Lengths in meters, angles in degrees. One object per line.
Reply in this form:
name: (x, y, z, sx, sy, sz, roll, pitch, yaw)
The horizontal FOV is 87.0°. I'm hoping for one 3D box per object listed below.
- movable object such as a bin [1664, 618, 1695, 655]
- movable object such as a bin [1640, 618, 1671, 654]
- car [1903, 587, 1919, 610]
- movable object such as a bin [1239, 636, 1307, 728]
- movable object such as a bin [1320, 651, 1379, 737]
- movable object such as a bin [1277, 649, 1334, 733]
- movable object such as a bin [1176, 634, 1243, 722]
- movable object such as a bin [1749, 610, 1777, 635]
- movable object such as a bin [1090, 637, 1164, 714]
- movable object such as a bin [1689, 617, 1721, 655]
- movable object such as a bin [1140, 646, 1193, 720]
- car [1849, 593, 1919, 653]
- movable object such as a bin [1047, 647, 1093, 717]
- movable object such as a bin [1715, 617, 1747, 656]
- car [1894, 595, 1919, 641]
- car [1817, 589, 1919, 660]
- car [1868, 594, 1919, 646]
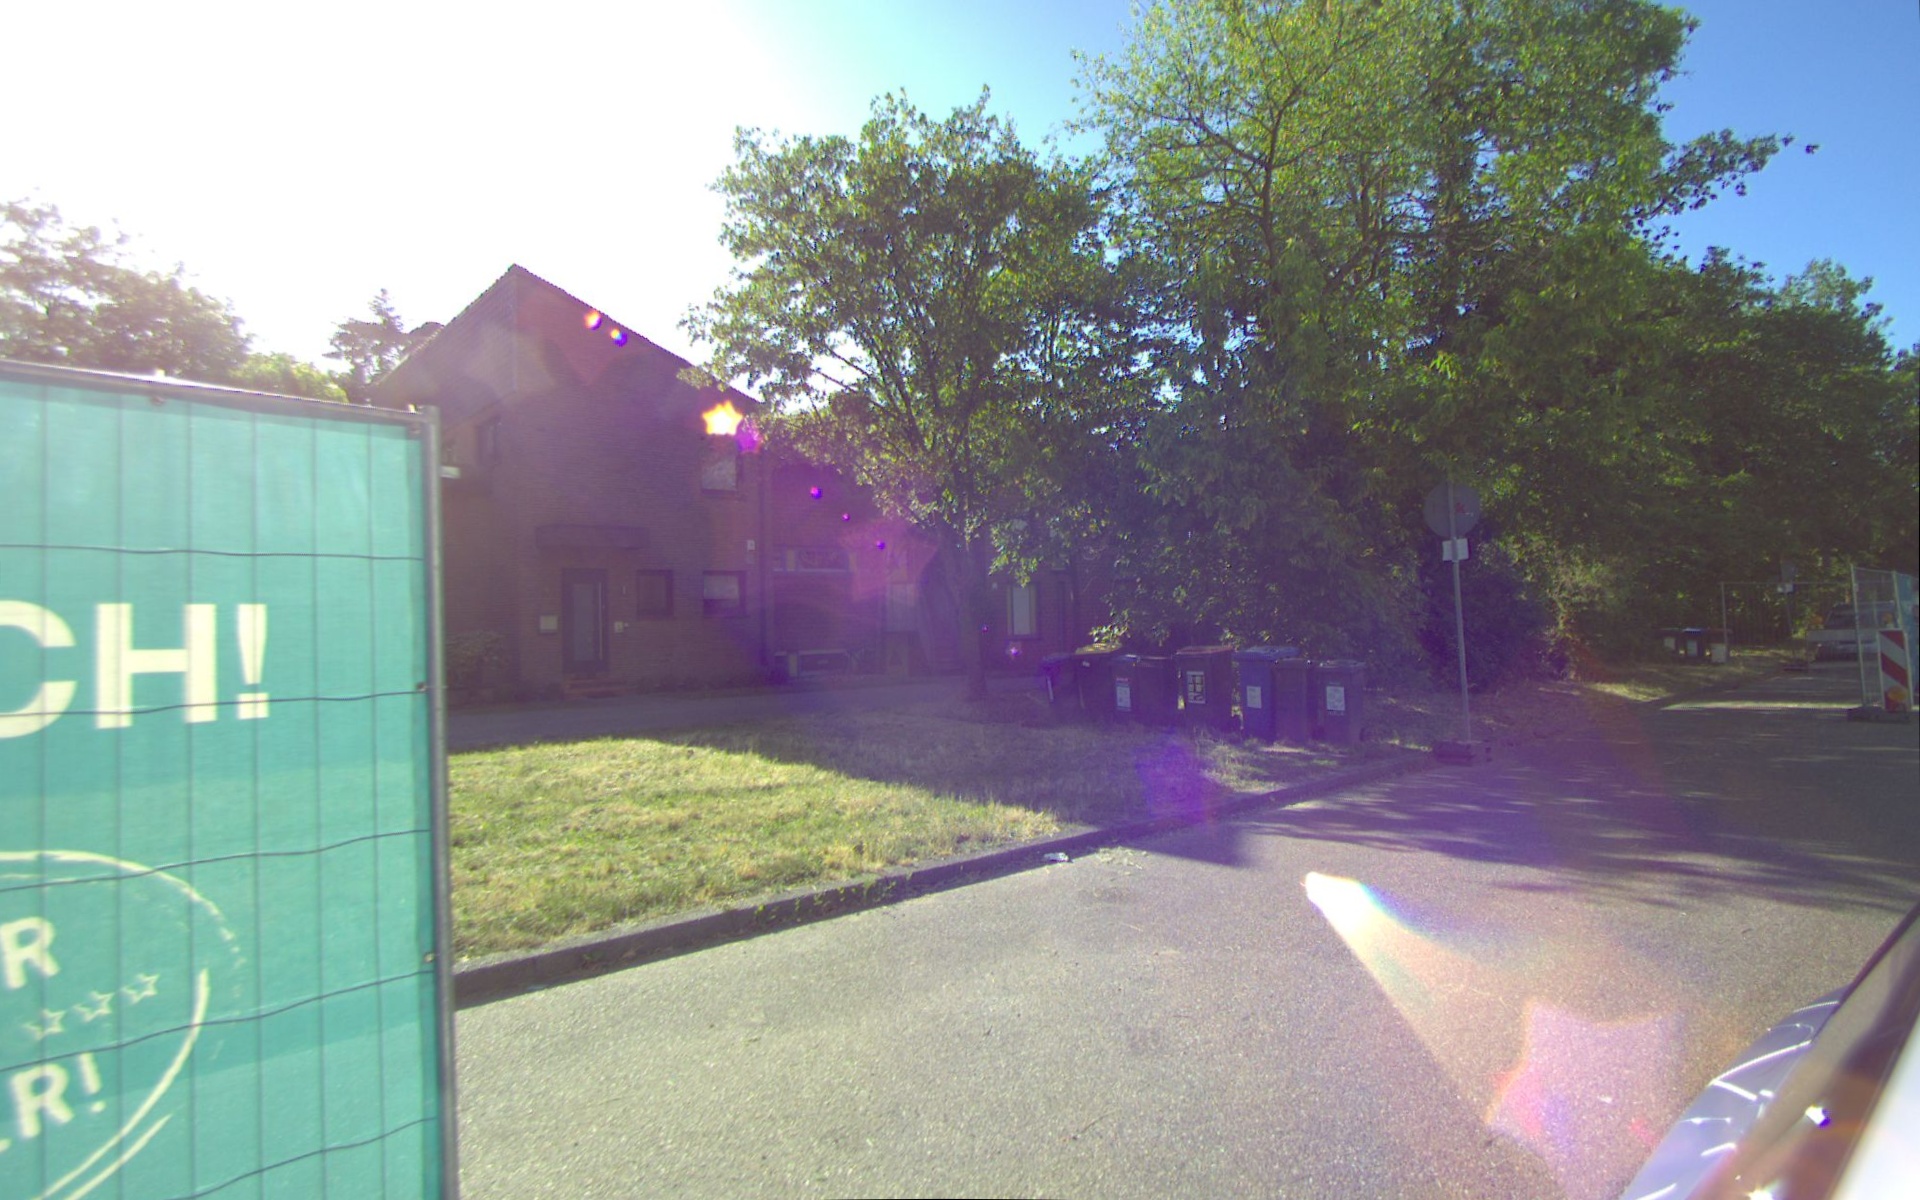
movable object such as a bin: (17.233, 0.872, 24.236, 0.550, 0.872, 0.484, 0, -3, -44)
movable object such as a bin: (16.942, 0.874, 24.639, 0.550, 0.872, 0.484, 0, -3, -44)
car: (84.385, -0.159, 86.565, 1.966, 2.030, 5.261, 0, -1, -42)
movable object such as a bin: (3.675, 0.946, 11.889, 0.597, 1.012, 0.519, -1, 0, -41)
movable object such as a bin: (4.252, 1.011, 11.049, 0.476, 0.881, 0.413, -1, 0, -41)
movable object such as a bin: (3.882, 1.013, 11.379, 0.476, 0.881, 0.413, -1, 0, -41)
movable object such as a bin: (3.081, 0.947, 12.501, 0.597, 1.012, 0.563, -1, 0, -40)
movable object such as a bin: (31.627, 0.876, 39.875, 0.454, 0.891, 0.728, -8, 4, -35)
movable object such as a bin: (2.210, 0.986, 13.413, 0.683, 0.940, 0.695, -1, 0, -40)
movable object such as a bin: (17.570, 0.843, 23.872, 0.550, 0.872, 0.484, 0, -3, -44)
movable object such as a bin: (2.626, 1.040, 12.876, 0.516, 0.881, 0.419, -1, 0, -41)
car: (26.920, 0.624, 28.899, 3.995, 1.594, 1.681, 0, -3, -40)
movable object such as a bin: (1.512, 1.115, 13.906, 0.424, 0.893, 0.518, -1, 0, 37)
movable object such as a bin: (17.909, 0.845, 23.517, 0.550, 0.872, 0.484, 0, -3, -44)
car: (33.695, 0.597, 35.099, 2.629, 1.529, 1.496, 0, -3, -39)
car: (23.011, 0.589, 25.410, 4.066, 1.643, 1.680, 0, -3, -42)
car: (30.265, 0.607, 32.209, 4.081, 1.529, 1.712, 0, -3, -44)
